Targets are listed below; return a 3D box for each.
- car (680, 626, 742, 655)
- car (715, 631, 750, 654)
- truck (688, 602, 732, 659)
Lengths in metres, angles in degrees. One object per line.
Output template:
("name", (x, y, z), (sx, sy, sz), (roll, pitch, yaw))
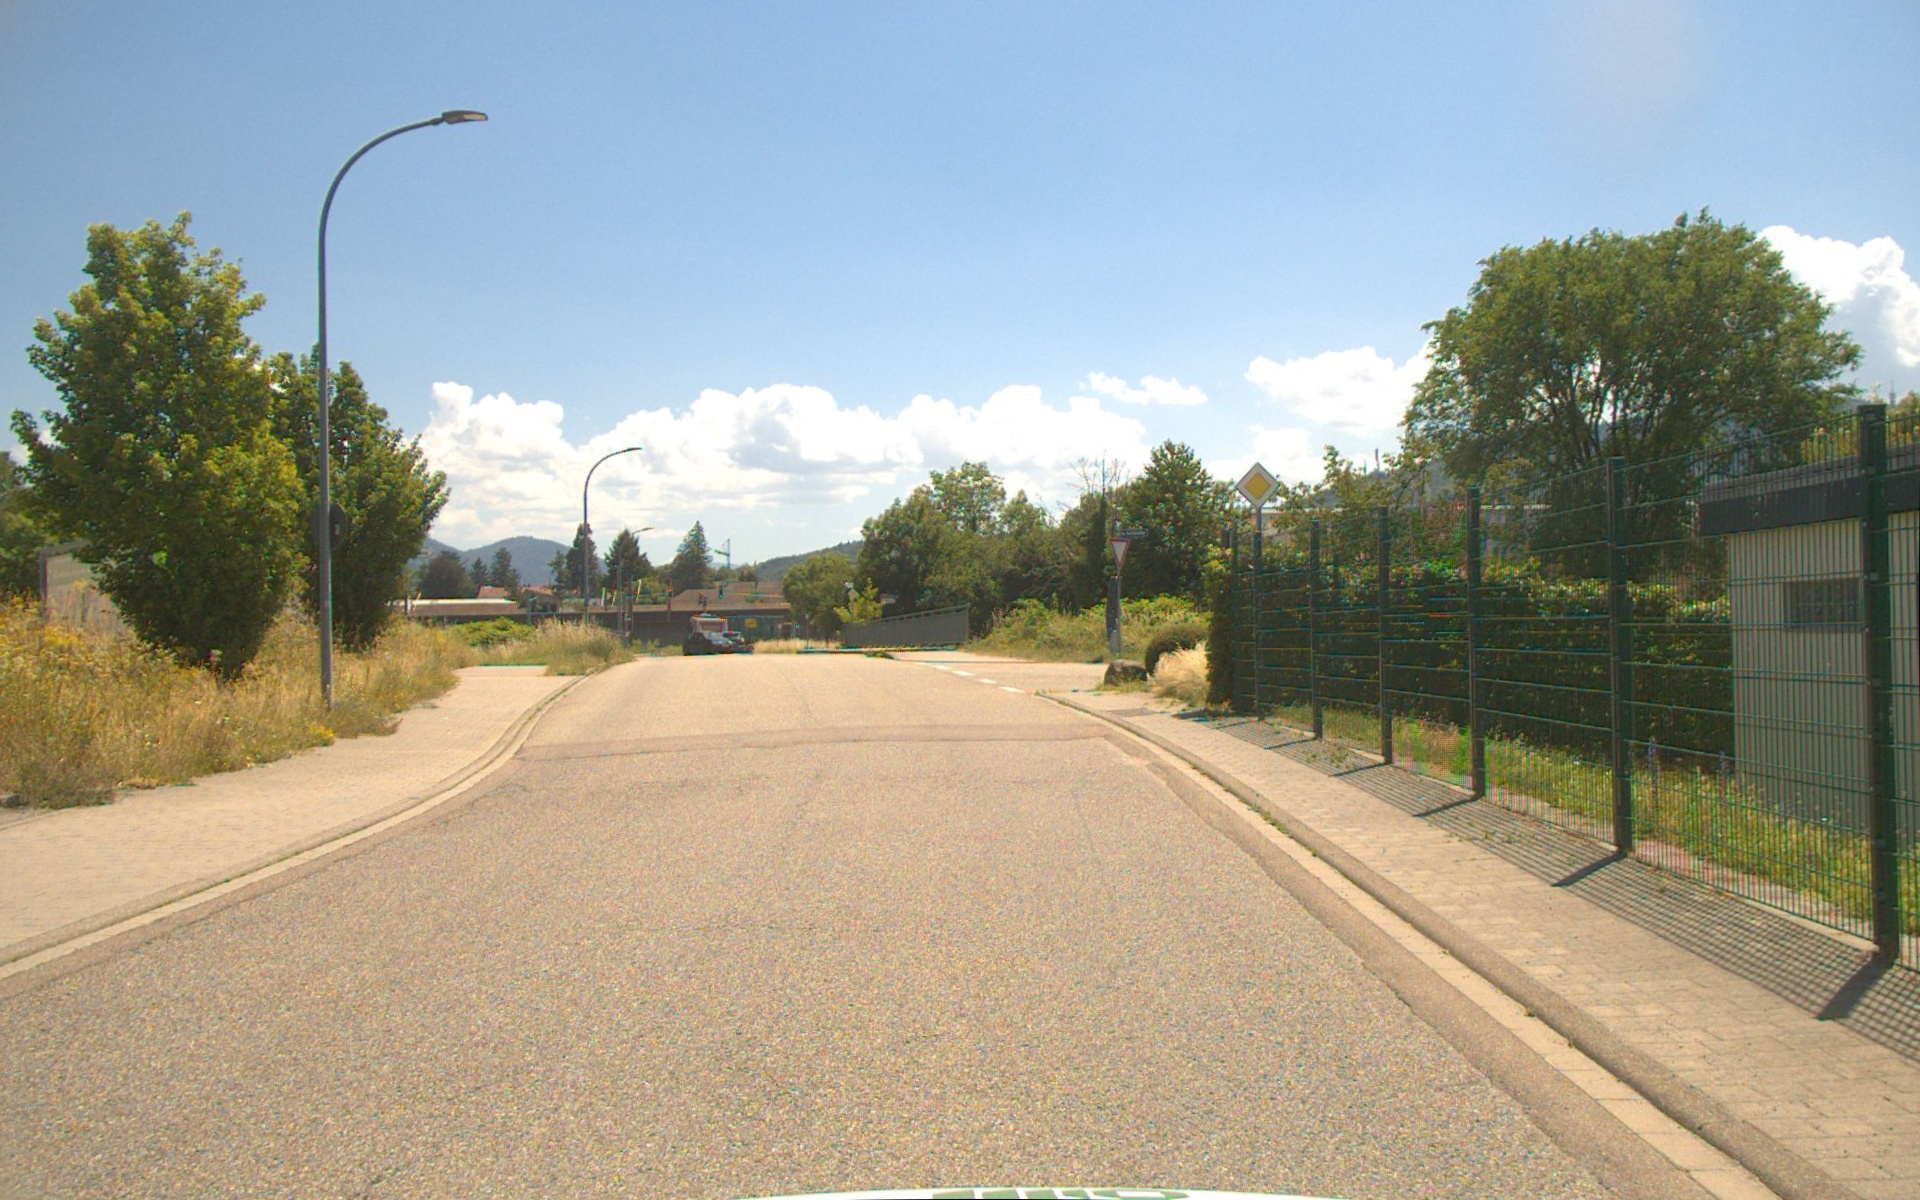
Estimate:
("car", (-15.427, 2.501, 102.594), (3.703, 1.663, 1.876), (-1, 0, 42))
("car", (-15.081, 2.815, 109.613), (1.959, 1.529, 3.987), (1, -2, -12))
("truck", (-20.141, 2.568, 132.729), (2.942, 4.254, 11.772), (0, -3, -11))
